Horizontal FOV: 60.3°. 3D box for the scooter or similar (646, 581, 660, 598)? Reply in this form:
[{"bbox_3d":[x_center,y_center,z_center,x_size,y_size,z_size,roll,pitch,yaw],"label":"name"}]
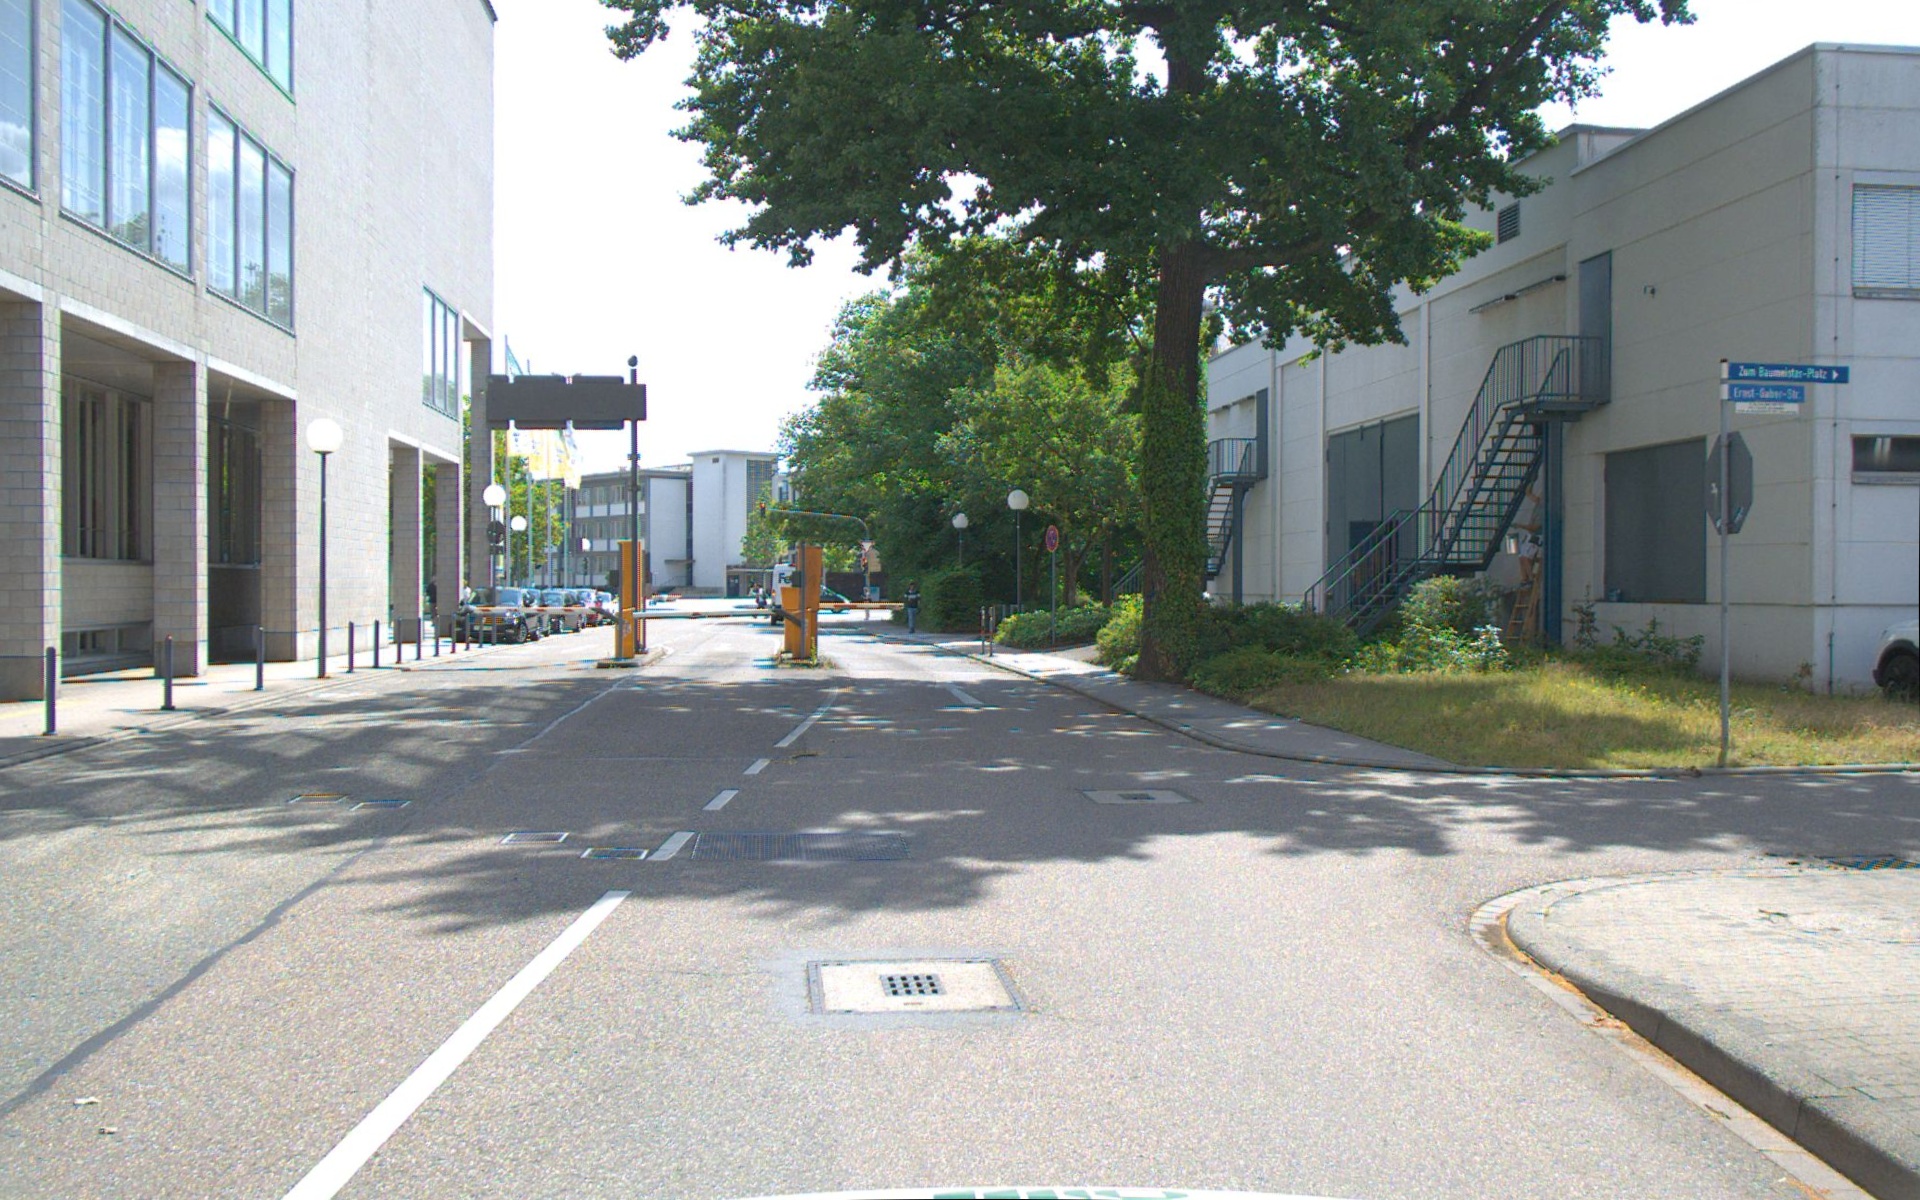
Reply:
[{"bbox_3d":[-21.768,-0.777,117.312,0.705,1.199,2.712,0,1,-17],"label":"scooter or similar"}]

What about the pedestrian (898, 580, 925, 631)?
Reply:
[{"bbox_3d":[-1.643,0.169,55.676,0.726,1.704,1.253,0,0,-10],"label":"pedestrian"}]

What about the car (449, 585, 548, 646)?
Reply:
[{"bbox_3d":[-12.432,0.376,44.834,1.824,1.493,4.712,2,0,-7],"label":"car"}]

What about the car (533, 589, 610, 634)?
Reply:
[{"bbox_3d":[-13.231,0.359,56.546,1.823,1.402,5.011,2,0,-5],"label":"car"}]

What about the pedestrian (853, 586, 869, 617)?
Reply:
[{"bbox_3d":[-5.151,0.080,85.744,0.718,1.603,0.773,1,0,-12],"label":"pedestrian"}]

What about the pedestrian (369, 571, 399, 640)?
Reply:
[{"bbox_3d":[-20.941,0.192,60.146,0.741,2.464,0.739,0,0,10],"label":"pedestrian"}]

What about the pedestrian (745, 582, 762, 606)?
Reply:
[{"bbox_3d":[-17.630,-0.533,141.146,1.116,2.049,1.157,0,0,7],"label":"pedestrian"}]

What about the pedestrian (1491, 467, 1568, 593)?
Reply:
[{"bbox_3d":[9.418,-1.141,27.387,0.908,2.049,0.949,0,0,-3],"label":"pedestrian"}]

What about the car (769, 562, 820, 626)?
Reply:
[{"bbox_3d":[-7.220,-0.291,71.650,2.055,2.611,5.593,0,1,-7],"label":"car"}]

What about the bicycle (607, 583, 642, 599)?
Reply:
[{"bbox_3d":[-30.180,-0.774,148.837,2.943,1.387,1.099,0,0,-45],"label":"bicycle"}]

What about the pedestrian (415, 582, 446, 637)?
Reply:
[{"bbox_3d":[-19.944,0.346,62.353,0.966,2.049,1.162,0,0,-11],"label":"pedestrian"}]

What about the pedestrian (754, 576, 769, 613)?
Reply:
[{"bbox_3d":[-10.262,-0.297,85.529,0.705,1.891,0.769,0,0,-5],"label":"pedestrian"}]

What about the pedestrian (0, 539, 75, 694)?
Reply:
[{"bbox_3d":[-12.516,0.220,22.370,0.685,2.049,0.829,1,0,-7],"label":"pedestrian"}]

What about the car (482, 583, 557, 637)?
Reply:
[{"bbox_3d":[-13.189,0.273,49.708,1.607,1.493,3.701,2,0,-7],"label":"car"}]

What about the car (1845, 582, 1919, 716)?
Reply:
[{"bbox_3d":[11.737,0.546,17.870,1.636,1.502,4.172,0,0,-10],"label":"car"}]

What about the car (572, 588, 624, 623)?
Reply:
[{"bbox_3d":[-15.745,0.230,72.143,1.644,1.419,4.656,2,0,-6],"label":"car"}]

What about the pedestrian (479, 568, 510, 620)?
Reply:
[{"bbox_3d":[-18.664,-0.248,66.357,0.884,2.063,0.798,0,0,23],"label":"pedestrian"}]

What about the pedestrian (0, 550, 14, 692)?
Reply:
[{"bbox_3d":[-13.276,0.274,22.230,0.717,1.913,0.719,1,0,-7],"label":"pedestrian"}]

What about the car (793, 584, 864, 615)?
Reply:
[{"bbox_3d":[-7.673,-0.061,96.241,4.001,1.777,1.726,0,0,-9],"label":"car"}]

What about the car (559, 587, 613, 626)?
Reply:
[{"bbox_3d":[-15.224,0.244,67.503,1.644,1.493,3.906,2,0,-6],"label":"car"}]
